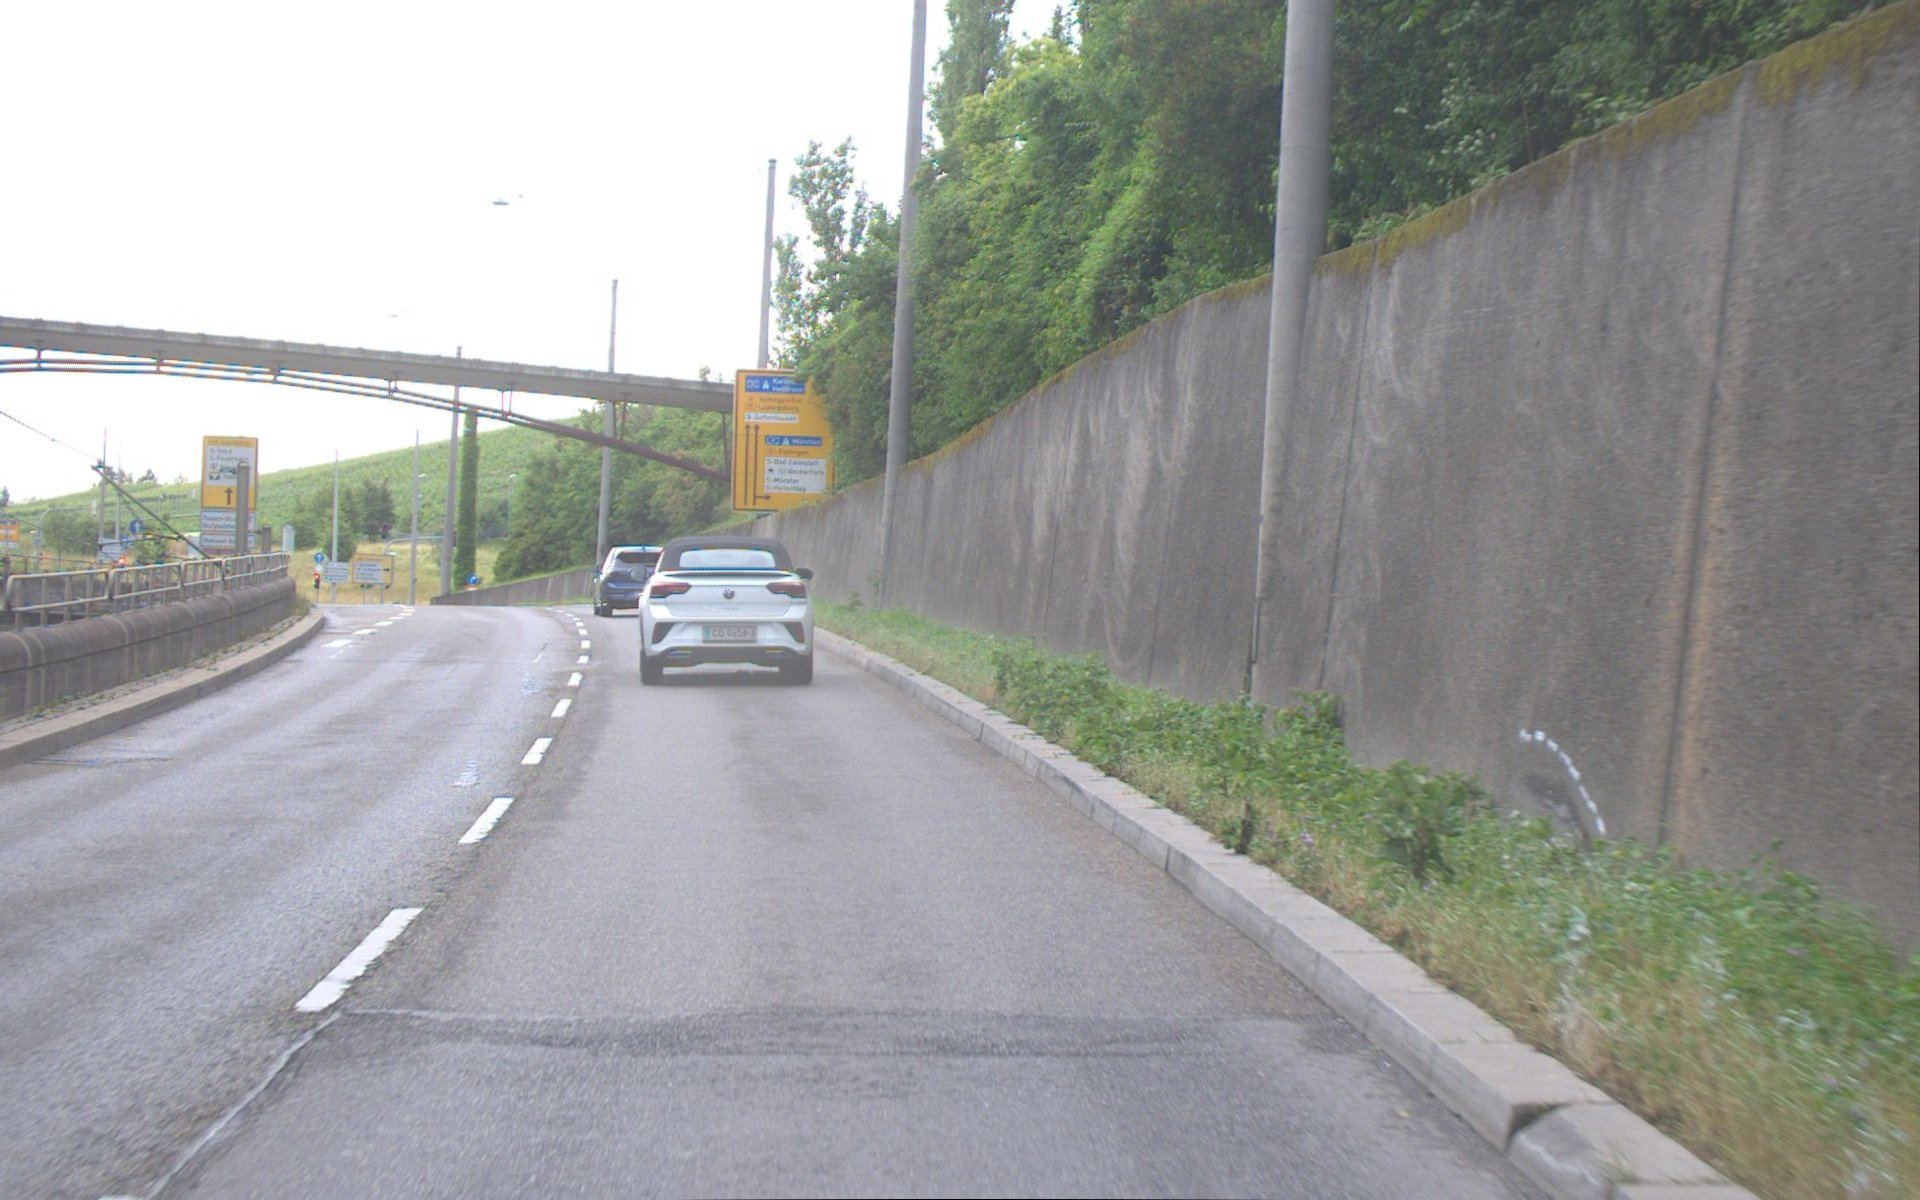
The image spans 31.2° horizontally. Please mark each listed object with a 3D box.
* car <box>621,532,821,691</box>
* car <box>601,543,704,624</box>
[{"bbox_3d":[-2.584,0.074,36.632,1.995,1.573,4.126,0,1,-5],"label":"car"},{"bbox_3d":[-6.338,-0.365,71.172,1.926,1.594,4.062,0,1,-3],"label":"car"}]
